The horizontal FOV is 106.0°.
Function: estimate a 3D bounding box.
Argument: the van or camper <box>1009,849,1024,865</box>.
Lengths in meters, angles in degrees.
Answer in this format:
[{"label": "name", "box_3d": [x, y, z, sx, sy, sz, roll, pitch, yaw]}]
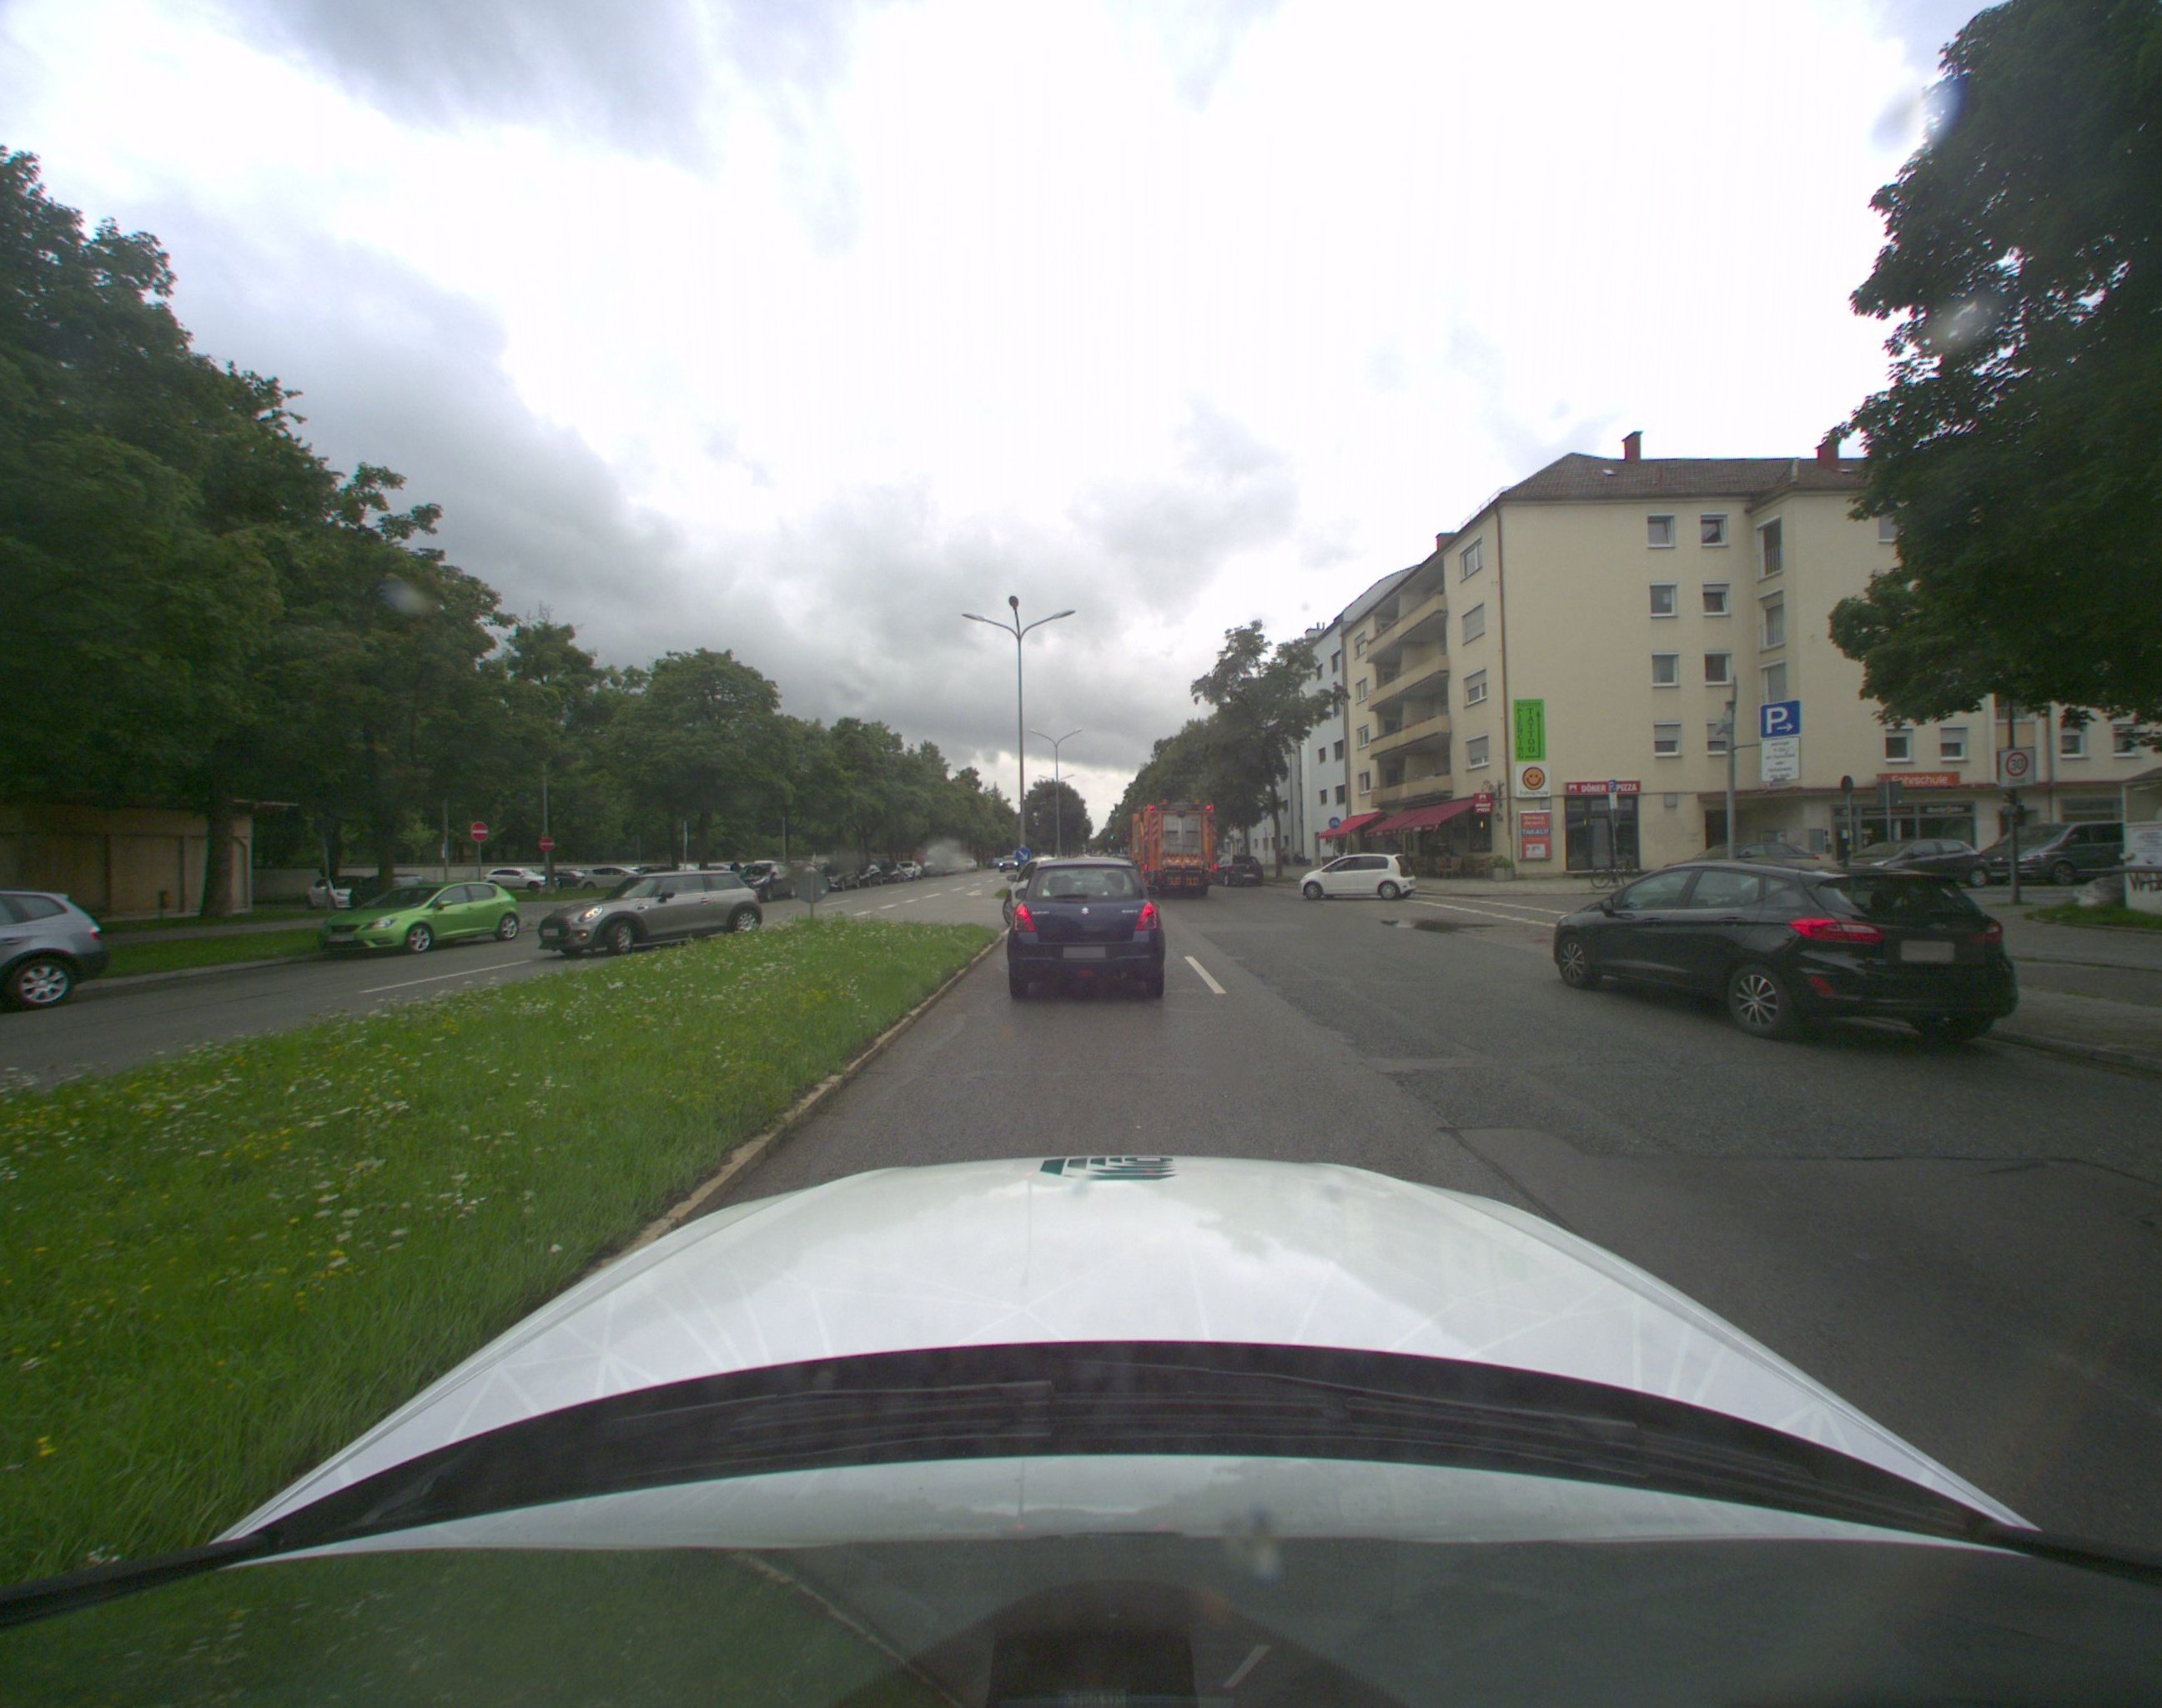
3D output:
[{"label": "van or camper", "box_3d": [-13.650, 0.547, 173.197, 2.552, 3.296, 6.937, -1, 0, 0]}]

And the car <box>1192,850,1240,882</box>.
[{"label": "car", "box_3d": [7.080, 0.596, 43.107, 1.786, 1.558, 4.224, -2, 0, 0]}]

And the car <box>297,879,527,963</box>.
[{"label": "car", "box_3d": [-14.209, 1.354, 17.619, 1.541, 1.409, 3.883, -3, 0, 4]}]

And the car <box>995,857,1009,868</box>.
[{"label": "car", "box_3d": [-11.677, 1.212, 120.883, 1.627, 1.583, 3.879, -1, 0, 0]}]

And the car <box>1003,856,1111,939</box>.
[{"label": "car", "box_3d": [-0.576, 0.800, 16.613, 1.447, 1.483, 3.089, -1, 0, -16]}]

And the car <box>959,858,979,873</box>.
[{"label": "car", "box_3d": [-12.639, 1.301, 91.946, 1.627, 1.583, 3.879, -1, 0, 0]}]

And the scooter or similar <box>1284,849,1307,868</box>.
[{"label": "scooter or similar", "box_3d": [16.015, 0.332, 60.942, 1.029, 1.307, 2.756, -2, 0, 2]}]

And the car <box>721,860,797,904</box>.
[{"label": "car", "box_3d": [-13.785, 1.155, 35.069, 1.711, 1.741, 3.879, -1, 0, 0]}]

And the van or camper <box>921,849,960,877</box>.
[{"label": "van or camper", "box_3d": [-13.064, 0.816, 76.423, 2.109, 2.482, 7.452, -1, 0, 2]}]

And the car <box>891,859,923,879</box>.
[{"label": "car", "box_3d": [-13.262, 1.130, 62.238, 1.627, 1.431, 3.879, -1, 0, 0]}]

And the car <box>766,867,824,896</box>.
[{"label": "car", "box_3d": [-13.930, 1.295, 39.813, 1.585, 1.312, 3.380, -1, 0, 0]}]

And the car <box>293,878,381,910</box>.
[{"label": "car", "box_3d": [-31.579, 1.660, 34.550, 4.363, 1.201, 1.683, -1, -1, 33]}]

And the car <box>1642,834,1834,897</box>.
[{"label": "car", "box_3d": [19.684, 0.324, 24.503, 4.384, 1.661, 1.869, -2, 0, -4]}]

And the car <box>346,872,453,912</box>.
[{"label": "car", "box_3d": [-26.696, 1.456, 31.885, 4.363, 1.446, 1.973, -1, -1, 33]}]

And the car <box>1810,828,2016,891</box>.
[{"label": "car", "box_3d": [24.921, 0.147, 24.503, 4.382, 1.661, 1.870, -2, 0, -2]}]

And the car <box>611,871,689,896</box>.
[{"label": "car", "box_3d": [-26.466, 1.777, 50.045, 3.859, 1.445, 1.670, 0, 0, -5]}]

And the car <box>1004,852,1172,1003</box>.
[{"label": "car", "box_3d": [0.074, 0.740, 10.216, 1.677, 1.502, 3.918, -1, 0, 0]}]

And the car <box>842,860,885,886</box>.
[{"label": "car", "box_3d": [-13.442, 1.155, 50.525, 1.585, 1.558, 3.879, -1, 0, 0]}]

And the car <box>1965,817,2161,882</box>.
[{"label": "car", "box_3d": [30.393, -0.137, 24.910, 4.721, 1.773, 1.871, -2, 0, -1]}]

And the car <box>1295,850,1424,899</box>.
[{"label": "car", "box_3d": [8.963, 0.652, 26.261, 3.513, 1.417, 1.884, -2, 0, 36]}]

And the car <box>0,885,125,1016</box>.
[{"label": "car", "box_3d": [-14.370, 1.276, 9.286, 1.685, 1.586, 4.370, -3, 0, 0]}]

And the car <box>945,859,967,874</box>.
[{"label": "car", "box_3d": [-12.940, 1.273, 84.300, 1.627, 1.583, 3.879, -1, 0, 0]}]

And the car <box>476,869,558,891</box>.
[{"label": "car", "box_3d": [-38.587, 1.775, 55.773, 4.489, 1.476, 1.673, -1, -1, 1]}]

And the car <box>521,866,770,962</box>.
[{"label": "car", "box_3d": [-8.003, 1.017, 15.289, 1.666, 1.463, 3.758, -1, 0, 33]}]

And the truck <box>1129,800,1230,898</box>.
[{"label": "truck", "box_3d": [3.504, -0.153, 31.328, 3.027, 3.189, 9.137, -1, 0, 2]}]

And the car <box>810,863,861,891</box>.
[{"label": "car", "box_3d": [-13.529, 1.261, 45.084, 1.662, 1.445, 3.879, -1, 0, 0]}]

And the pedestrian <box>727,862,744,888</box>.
[{"label": "pedestrian", "box_3d": [-20.612, 1.263, 48.584, 0.725, 1.534, 0.721, -1, -1, 1]}]

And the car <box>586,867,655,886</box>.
[{"label": "car", "box_3d": [-37.577, 1.812, 66.558, 4.674, 1.445, 1.673, -1, 0, 1]}]

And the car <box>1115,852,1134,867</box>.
[{"label": "car", "box_3d": [4.369, 0.545, 81.595, 1.752, 1.413, 4.463, 0, 0, 1]}]

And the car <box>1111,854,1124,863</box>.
[{"label": "car", "box_3d": [5.224, 0.634, 117.373, 1.676, 1.383, 3.919, 0, 0, 1]}]

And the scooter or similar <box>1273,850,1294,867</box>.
[{"label": "scooter or similar", "box_3d": [16.109, 0.324, 64.713, 1.029, 1.307, 2.756, -2, 0, 2]}]

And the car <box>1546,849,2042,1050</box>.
[{"label": "car", "box_3d": [6.286, 0.708, 7.819, 1.611, 1.465, 3.675, 0, 0, 1]}]

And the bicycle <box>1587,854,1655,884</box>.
[{"label": "bicycle", "box_3d": [17.663, 0.492, 26.650, 1.842, 0.957, 0.557, -1, -1, -1]}]

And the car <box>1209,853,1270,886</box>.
[{"label": "car", "box_3d": [7.373, 0.673, 38.335, 1.861, 1.417, 4.221, -2, 0, -2]}]

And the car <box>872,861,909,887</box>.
[{"label": "car", "box_3d": [-13.271, 1.373, 56.900, 1.627, 1.741, 3.879, -1, 0, 0]}]

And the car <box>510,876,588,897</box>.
[{"label": "car", "box_3d": [-39.293, 2.398, 60.241, 4.674, 1.445, 1.673, -1, 0, 1]}]

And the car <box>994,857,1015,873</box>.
[{"label": "car", "box_3d": [-7.494, 1.083, 80.020, 1.627, 1.552, 3.879, -1, 0, 0]}]

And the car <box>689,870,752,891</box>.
[{"label": "car", "box_3d": [-26.326, 1.925, 59.541, 3.859, 1.445, 1.670, 0, 0, -5]}]

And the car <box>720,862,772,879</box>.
[{"label": "car", "box_3d": [-29.450, 1.418, 71.708, 3.859, 1.445, 1.670, 0, 0, -5]}]

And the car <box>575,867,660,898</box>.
[{"label": "car", "box_3d": [-26.741, 1.628, 47.095, 3.911, 1.718, 1.670, 0, 0, -5]}]

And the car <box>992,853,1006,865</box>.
[{"label": "car", "box_3d": [-11.572, 0.725, 114.970, 1.627, 1.583, 3.879, -1, 0, 0]}]

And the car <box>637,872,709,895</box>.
[{"label": "car", "box_3d": [-27.031, 1.938, 54.021, 3.859, 1.445, 1.670, 0, 0, -5]}]
